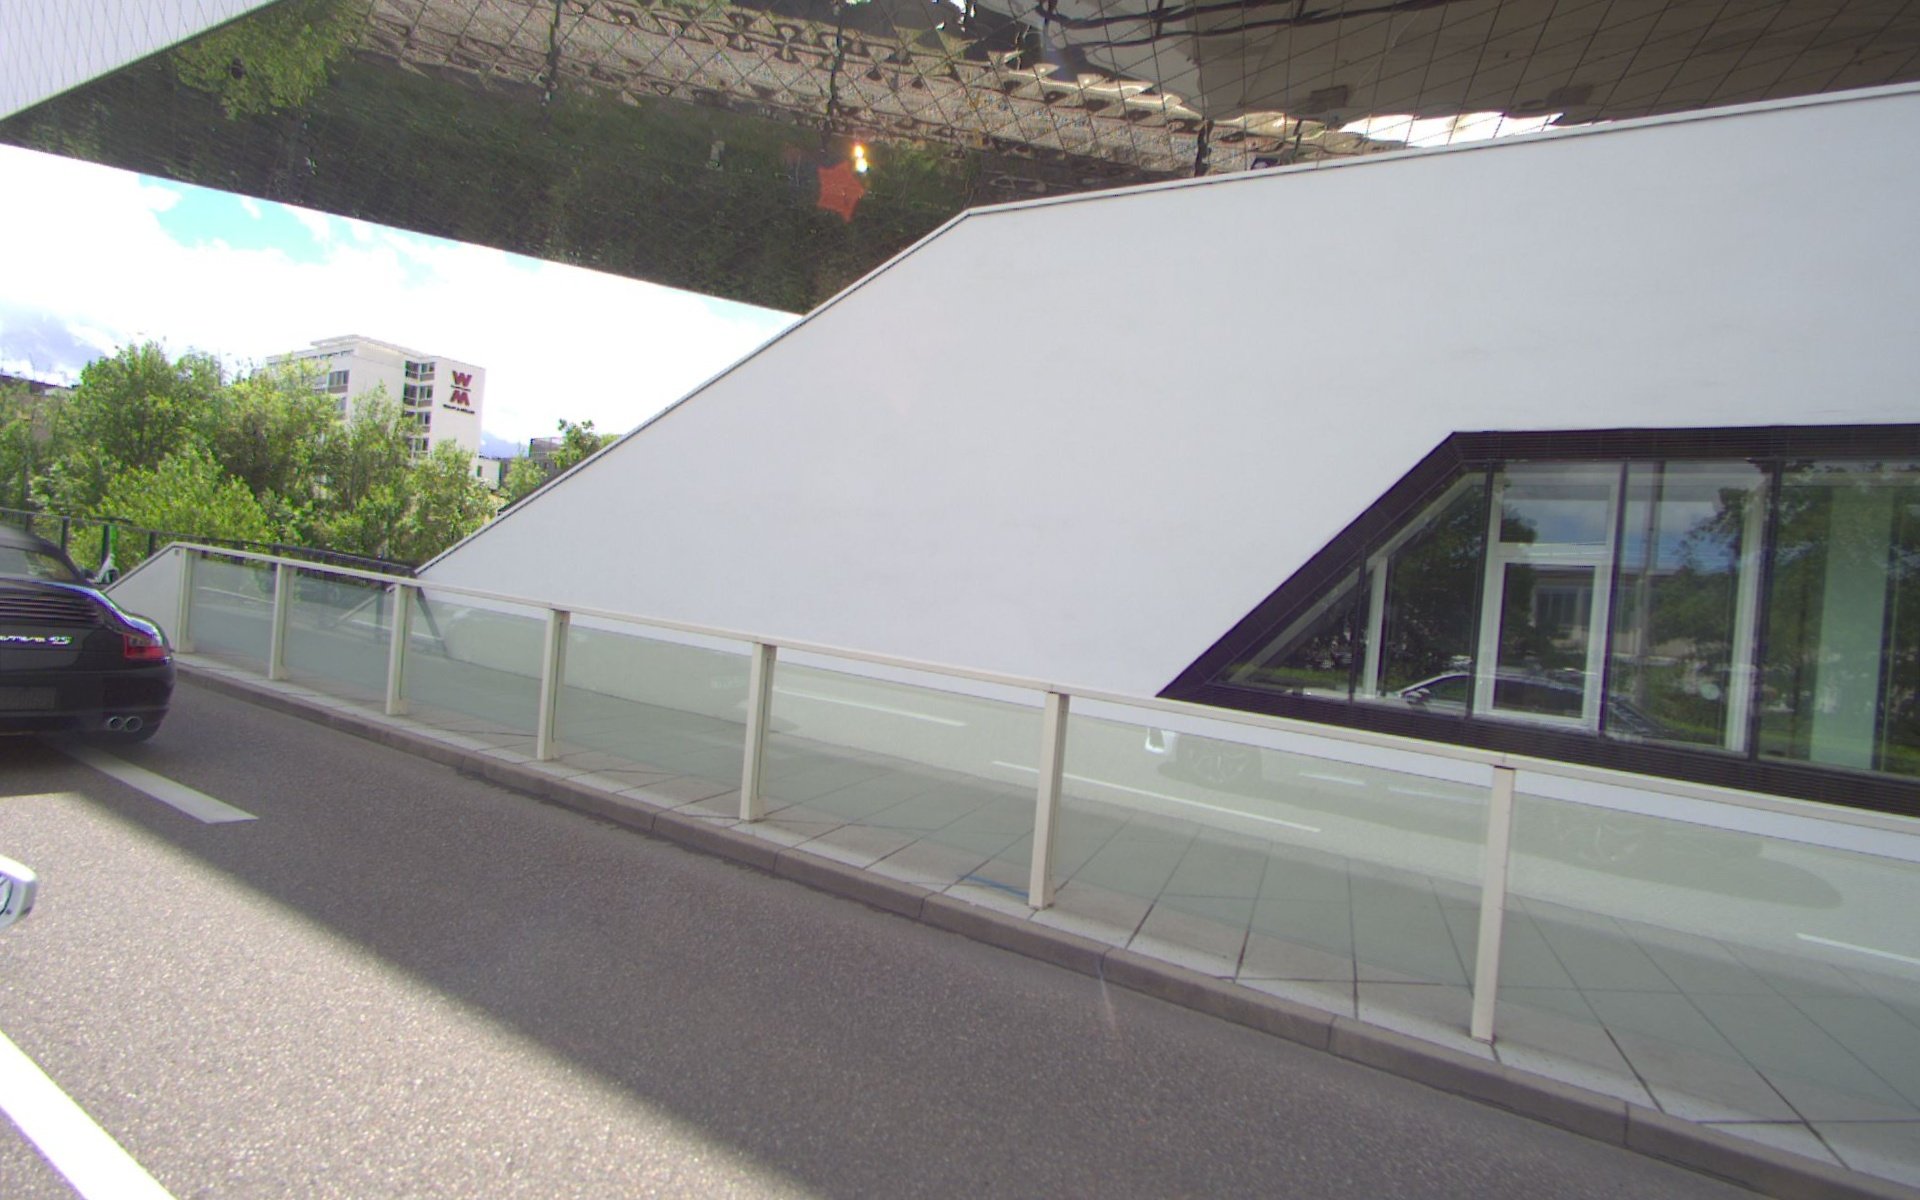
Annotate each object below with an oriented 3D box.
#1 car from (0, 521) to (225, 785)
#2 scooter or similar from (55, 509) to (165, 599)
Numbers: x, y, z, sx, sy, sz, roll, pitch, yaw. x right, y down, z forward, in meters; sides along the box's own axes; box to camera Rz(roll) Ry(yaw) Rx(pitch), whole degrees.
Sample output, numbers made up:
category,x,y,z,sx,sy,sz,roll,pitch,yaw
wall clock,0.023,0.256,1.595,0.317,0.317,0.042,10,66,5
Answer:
category,x,y,z,sx,sy,sz,roll,pitch,yaw
car,-6.537,0.115,6.211,4.019,1.290,1.723,6,-1,31
scooter or similar,-13.384,-0.727,15.828,1.825,1.229,0.654,6,1,29
